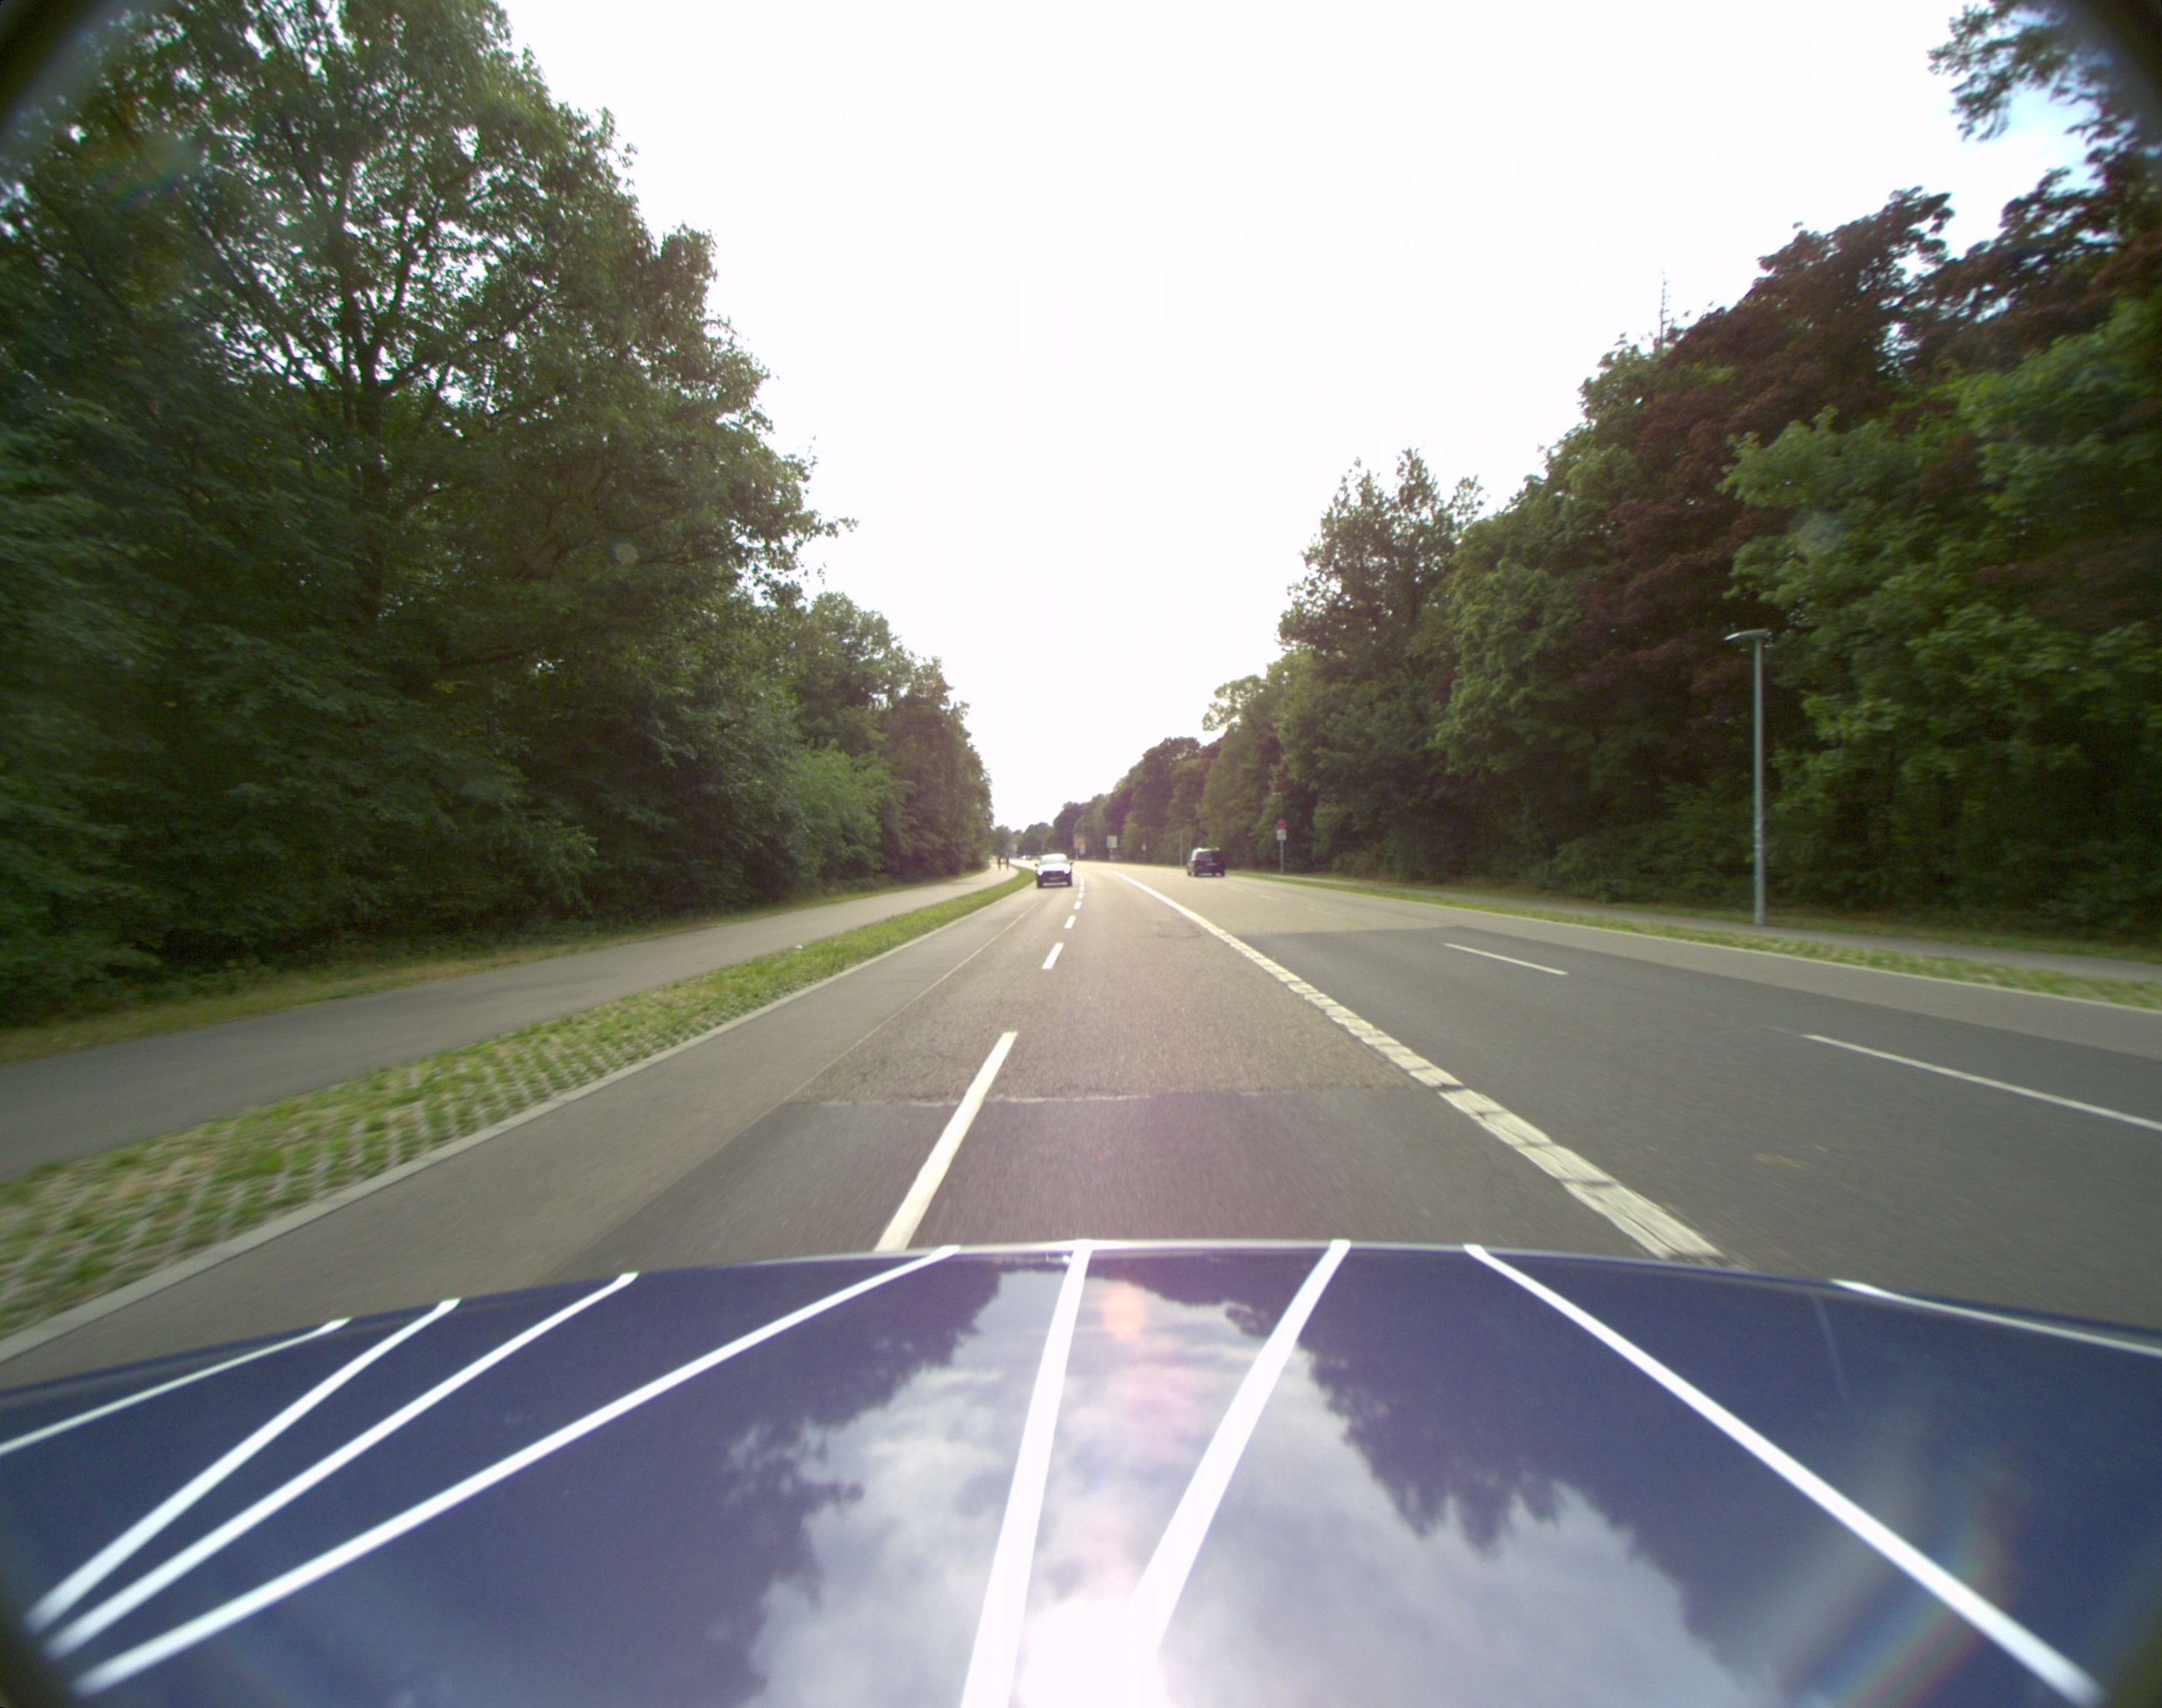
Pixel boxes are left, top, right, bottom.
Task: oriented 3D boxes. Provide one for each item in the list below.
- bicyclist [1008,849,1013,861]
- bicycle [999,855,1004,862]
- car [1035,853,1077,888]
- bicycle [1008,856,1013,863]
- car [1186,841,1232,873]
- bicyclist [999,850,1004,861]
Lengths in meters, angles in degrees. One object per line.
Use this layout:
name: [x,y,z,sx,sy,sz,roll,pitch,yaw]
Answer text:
bicyclist: [-8.844,0.133,95.068,0.521,1.407,1.185,-2,1,-8]
bicycle: [-9.901,0.571,94.947,0.567,0.906,1.886,1,-1,-8]
car: [-1.301,0.818,40.429,1.999,1.565,3.998,-4,1,-1]
bicycle: [-8.820,0.677,95.050,0.567,0.906,1.753,1,1,-8]
car: [7.895,0.123,47.238,1.998,1.781,4.746,-4,1,0]
bicyclist: [-9.917,0.168,94.962,0.521,1.407,1.185,-3,1,-8]
